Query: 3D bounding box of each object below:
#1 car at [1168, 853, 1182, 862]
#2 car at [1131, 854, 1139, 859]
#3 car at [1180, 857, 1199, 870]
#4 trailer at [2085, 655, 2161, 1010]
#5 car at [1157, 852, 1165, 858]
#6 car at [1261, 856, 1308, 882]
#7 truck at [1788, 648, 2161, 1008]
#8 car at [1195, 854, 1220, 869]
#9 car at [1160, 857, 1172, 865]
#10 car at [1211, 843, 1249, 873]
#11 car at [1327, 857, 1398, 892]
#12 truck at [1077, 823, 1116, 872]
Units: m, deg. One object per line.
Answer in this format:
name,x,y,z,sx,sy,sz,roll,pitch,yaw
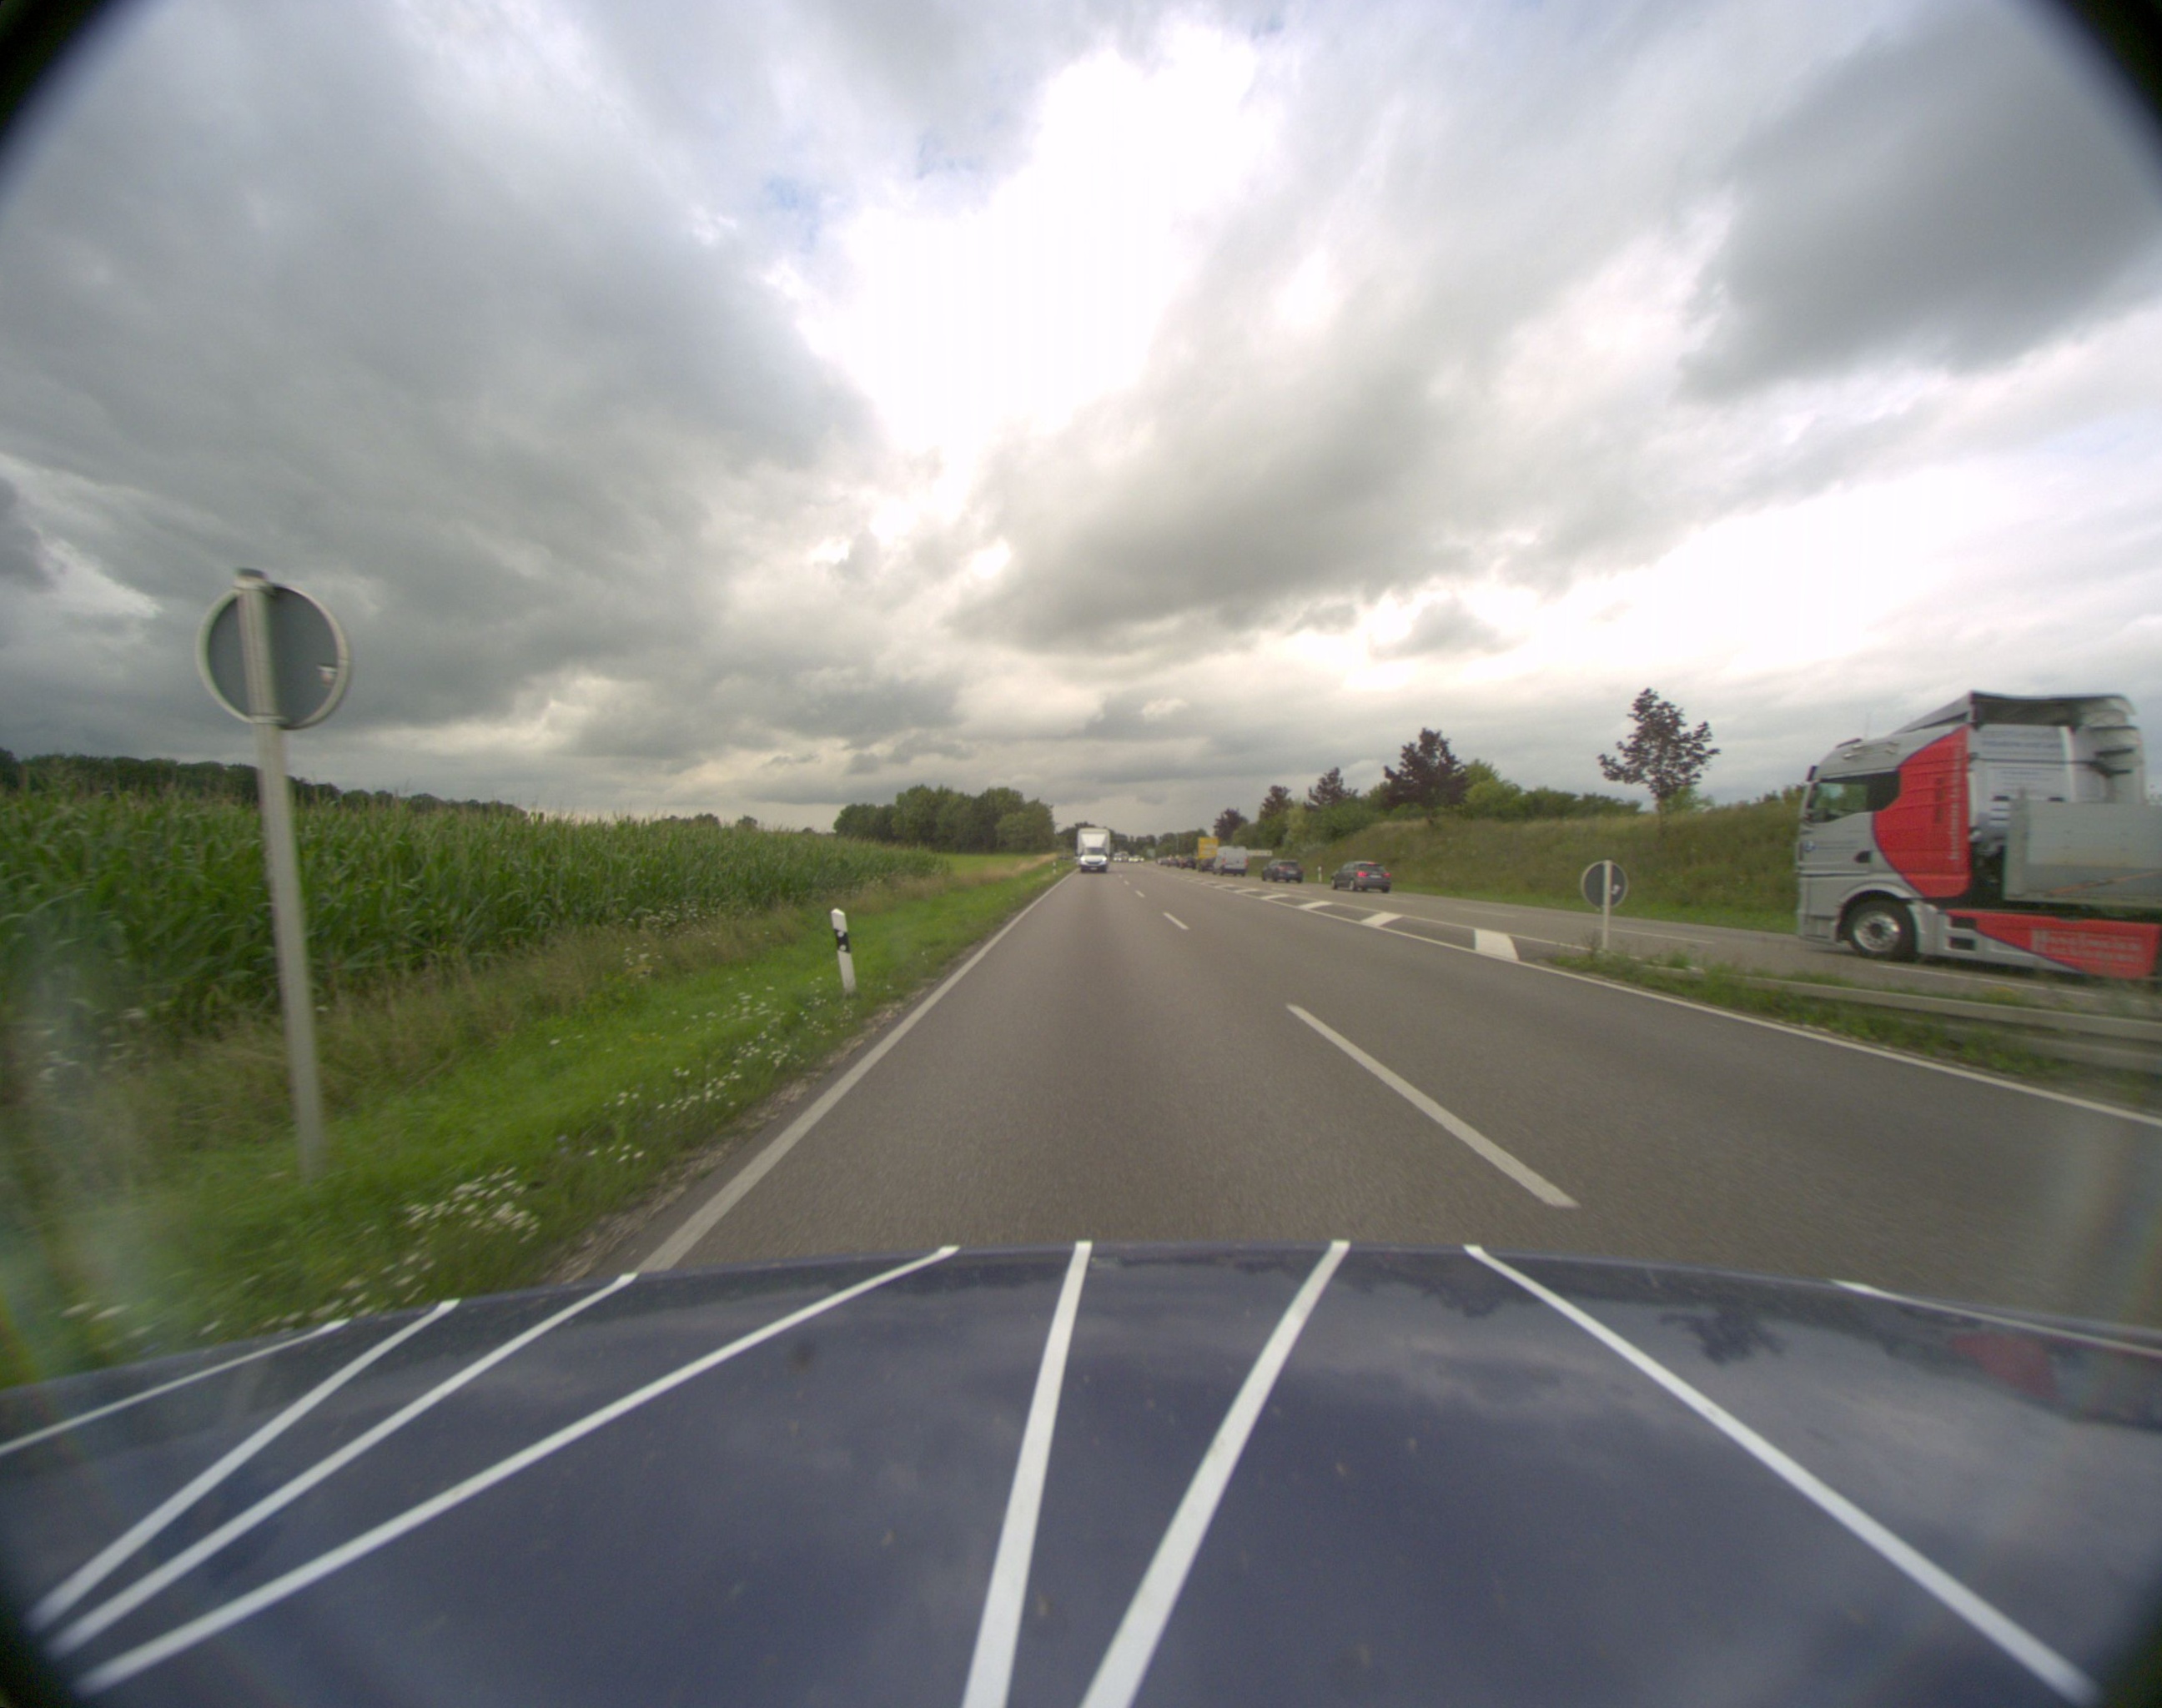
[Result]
car,15.415,0.582,125.034,1.798,1.502,4.706,3,0,2
car,14.559,0.583,204.653,1.860,1.274,4.001,2,0,4
car,14.153,1.235,99.316,1.798,1.624,4.516,3,0,2
trailer,13.391,-0.250,2.541,2.782,3.924,12.984,0,0,-1
car,18.947,0.218,179.561,1.611,1.406,4.057,1,0,2
car,13.036,0.926,49.027,1.737,1.521,4.548,2,0,0
truck,13.332,-0.278,10.158,2.810,3.974,5.286,0,0,0
car,12.950,0.740,77.940,1.737,1.521,4.193,2,0,0
car,16.749,1.307,149.802,1.798,1.397,4.706,3,0,2
car,12.711,0.335,65.166,2.038,2.425,5.635,2,0,0
car,13.186,0.912,35.831,1.737,1.521,4.193,2,0,-1
truck,1.186,-0.485,61.809,2.934,3.652,8.442,0,0,0
